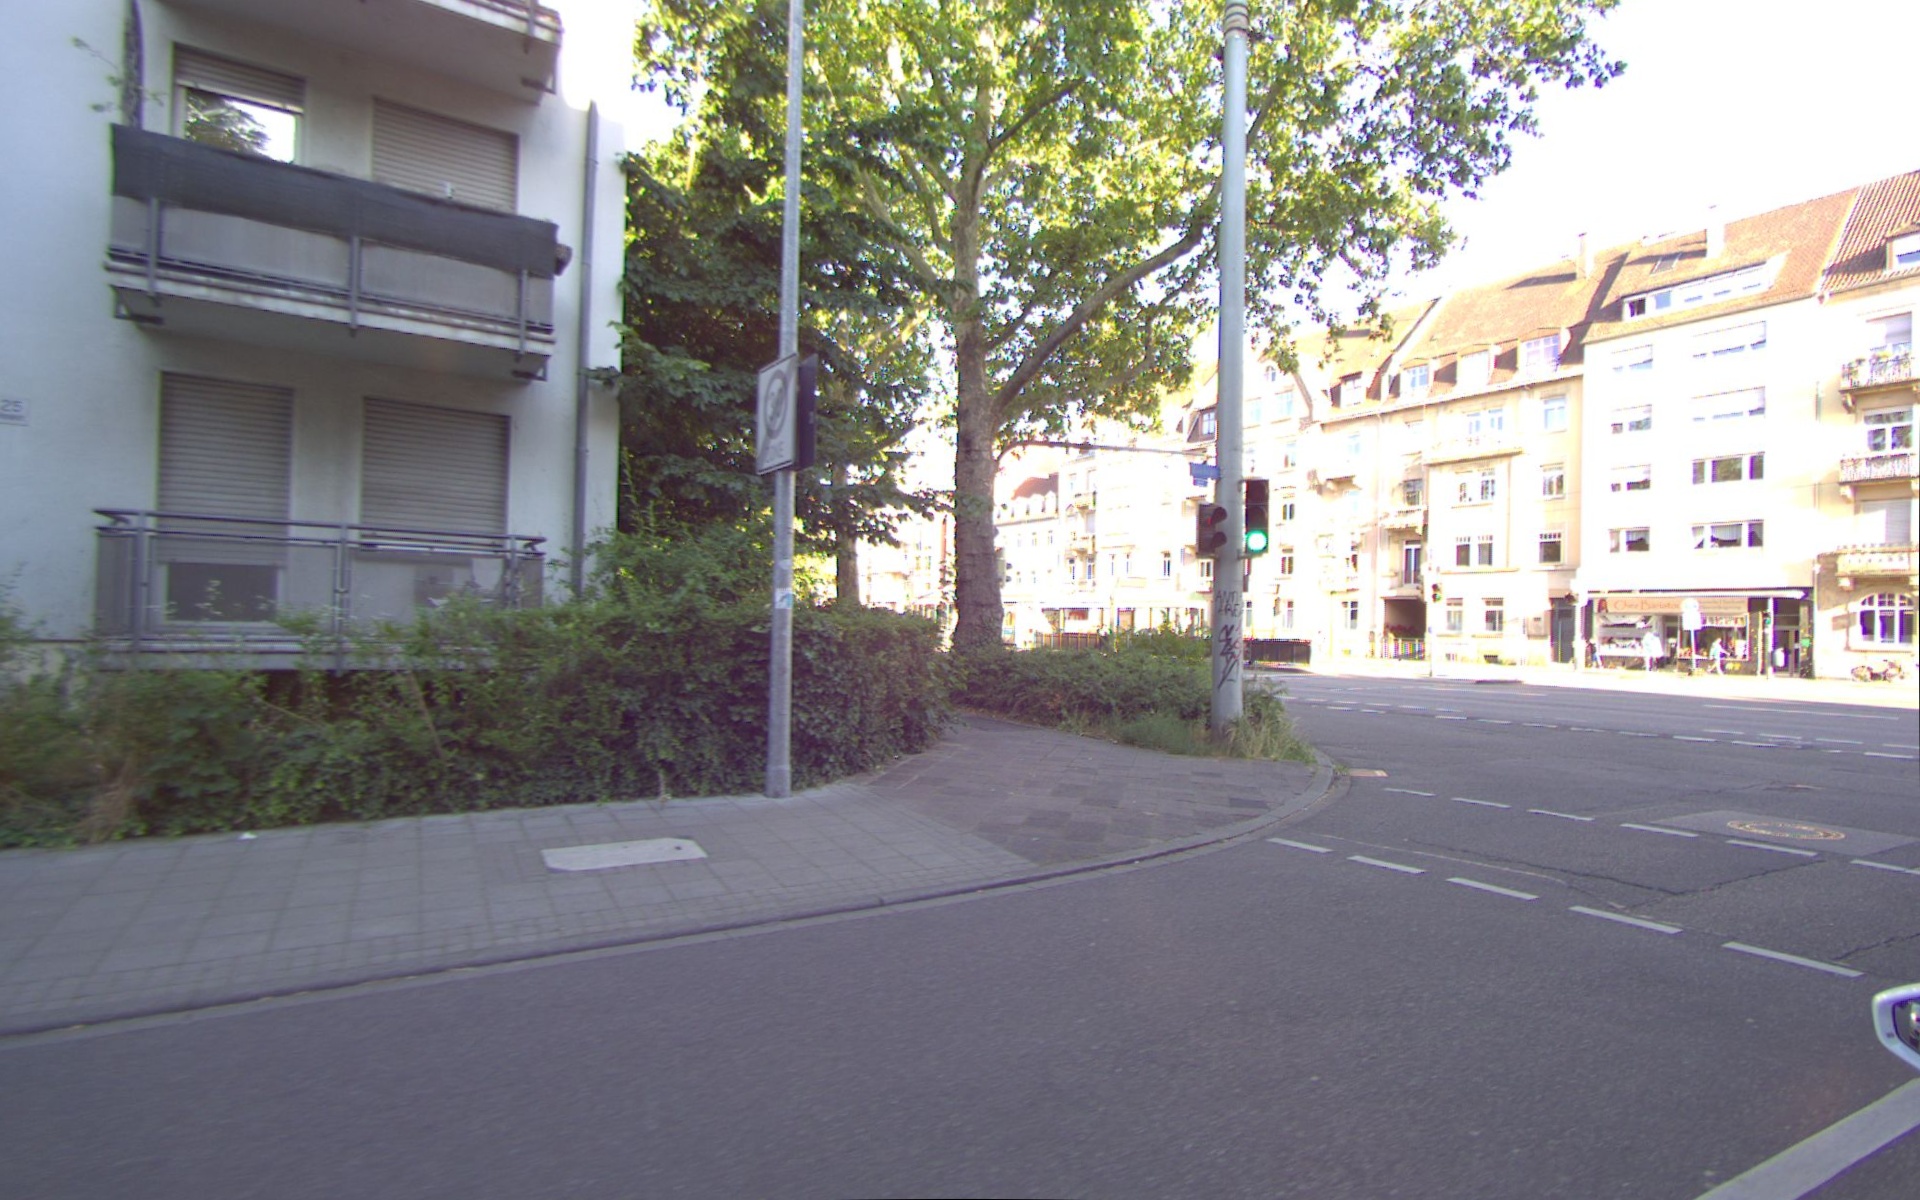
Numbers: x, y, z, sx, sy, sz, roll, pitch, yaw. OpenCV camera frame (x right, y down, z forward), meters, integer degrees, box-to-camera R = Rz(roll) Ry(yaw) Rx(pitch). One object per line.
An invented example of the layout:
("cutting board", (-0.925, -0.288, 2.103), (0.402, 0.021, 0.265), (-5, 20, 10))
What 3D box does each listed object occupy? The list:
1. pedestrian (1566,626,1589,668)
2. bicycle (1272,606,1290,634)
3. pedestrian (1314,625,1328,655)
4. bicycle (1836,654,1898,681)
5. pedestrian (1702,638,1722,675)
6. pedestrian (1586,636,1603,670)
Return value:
("pedestrian", (30.158, 2.299, 49.051), (0.758, 2.040, 0.665), (2, -1, -23))
("bicycle", (20.391, 1.254, 63.762), (0.553, 1.760, 0.882), (2, 0, -28))
("pedestrian", (22.566, 2.513, 62.721), (0.633, 1.861, 0.473), (2, 0, -30))
("bicycle", (36.795, 2.724, 40.757), (0.488, 1.041, 1.796), (2, -1, -33))
("pedestrian", (33.723, 2.531, 45.029), (0.463, 1.584, 0.559), (2, 0, -36))
("pedestrian", (30.641, 2.565, 48.504), (0.463, 1.584, 0.559), (2, 0, -36))
